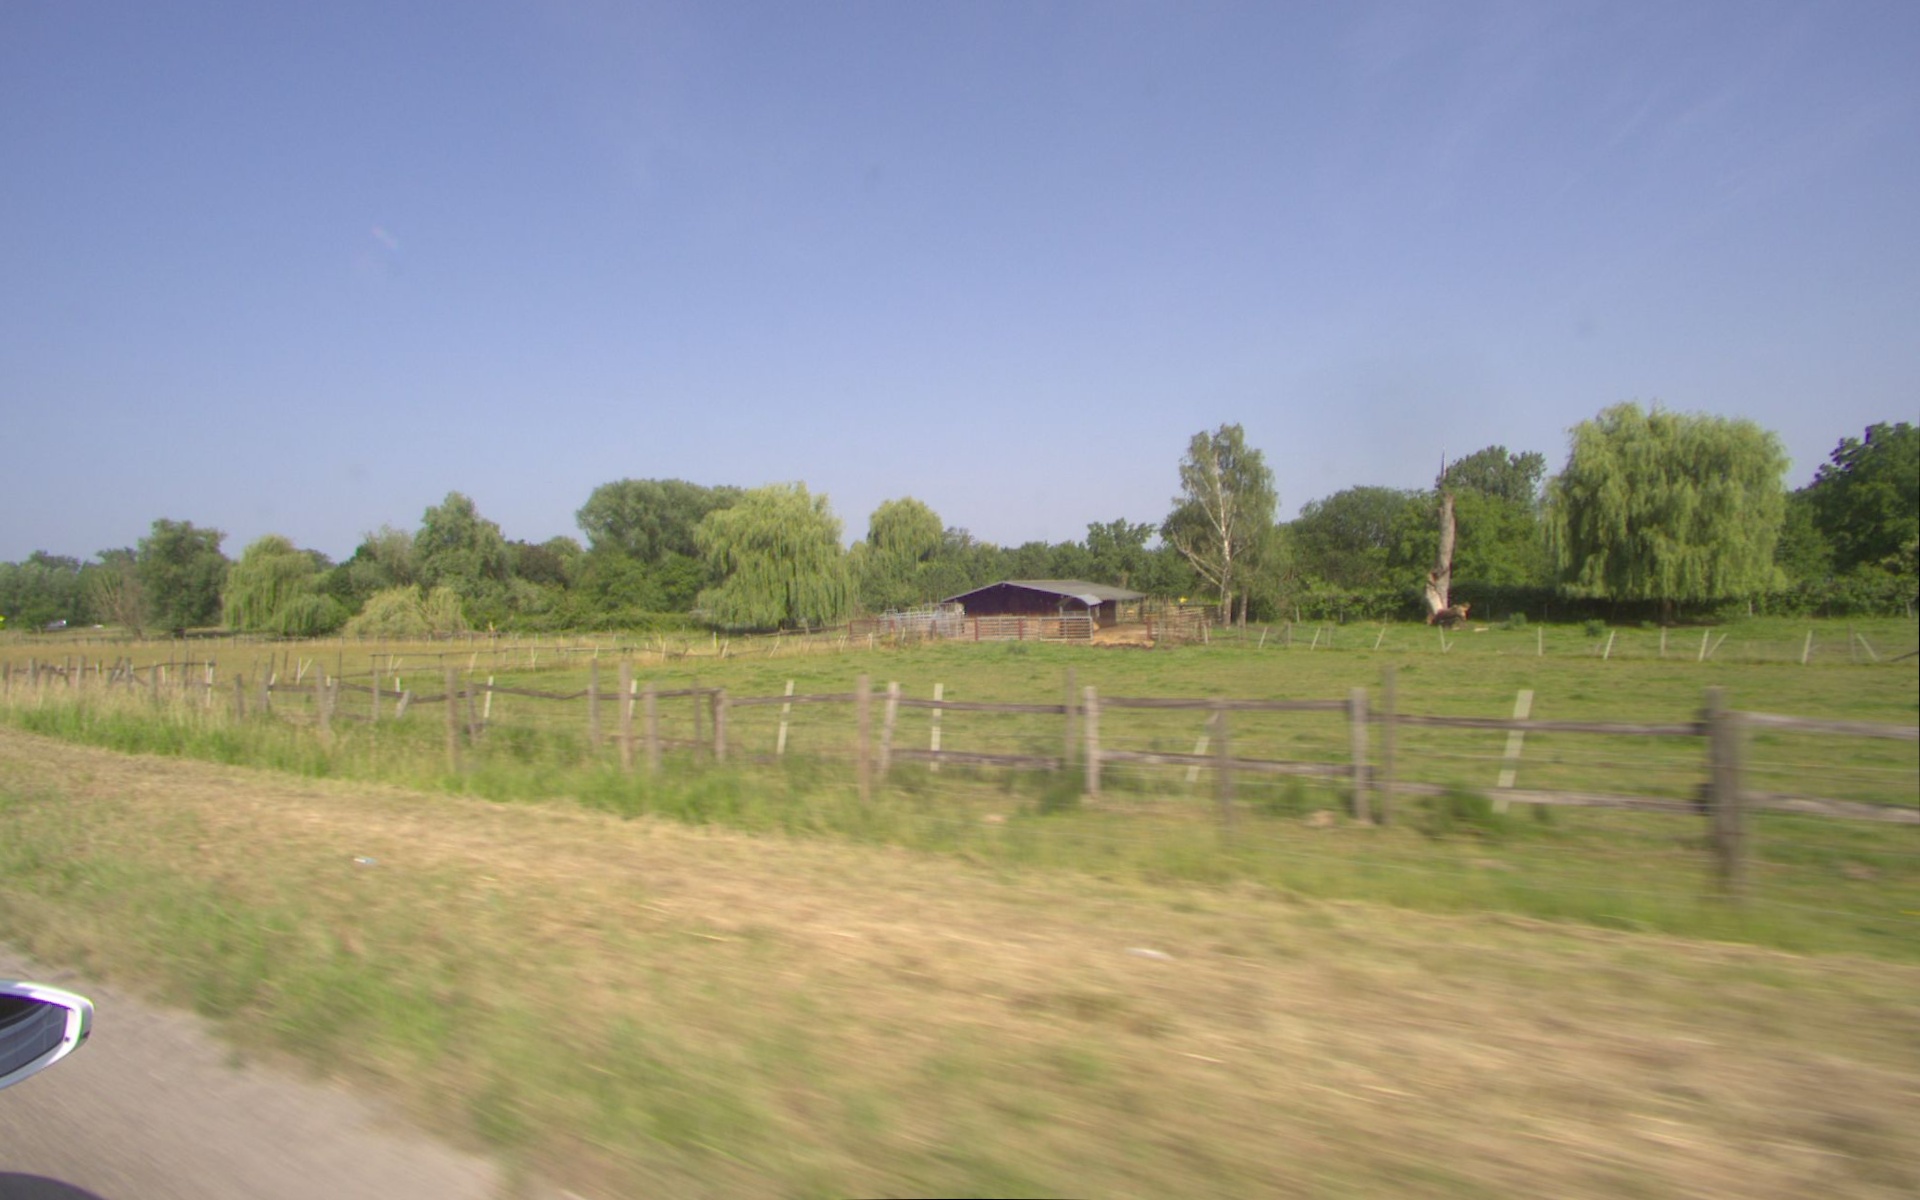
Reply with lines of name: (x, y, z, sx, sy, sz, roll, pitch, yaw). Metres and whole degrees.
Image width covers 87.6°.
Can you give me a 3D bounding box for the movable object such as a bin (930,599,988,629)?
movable object such as a bin: (-0.085, 1.084, 76.314, 4.109, 2.222, 1.987, -1, -1, 36)
